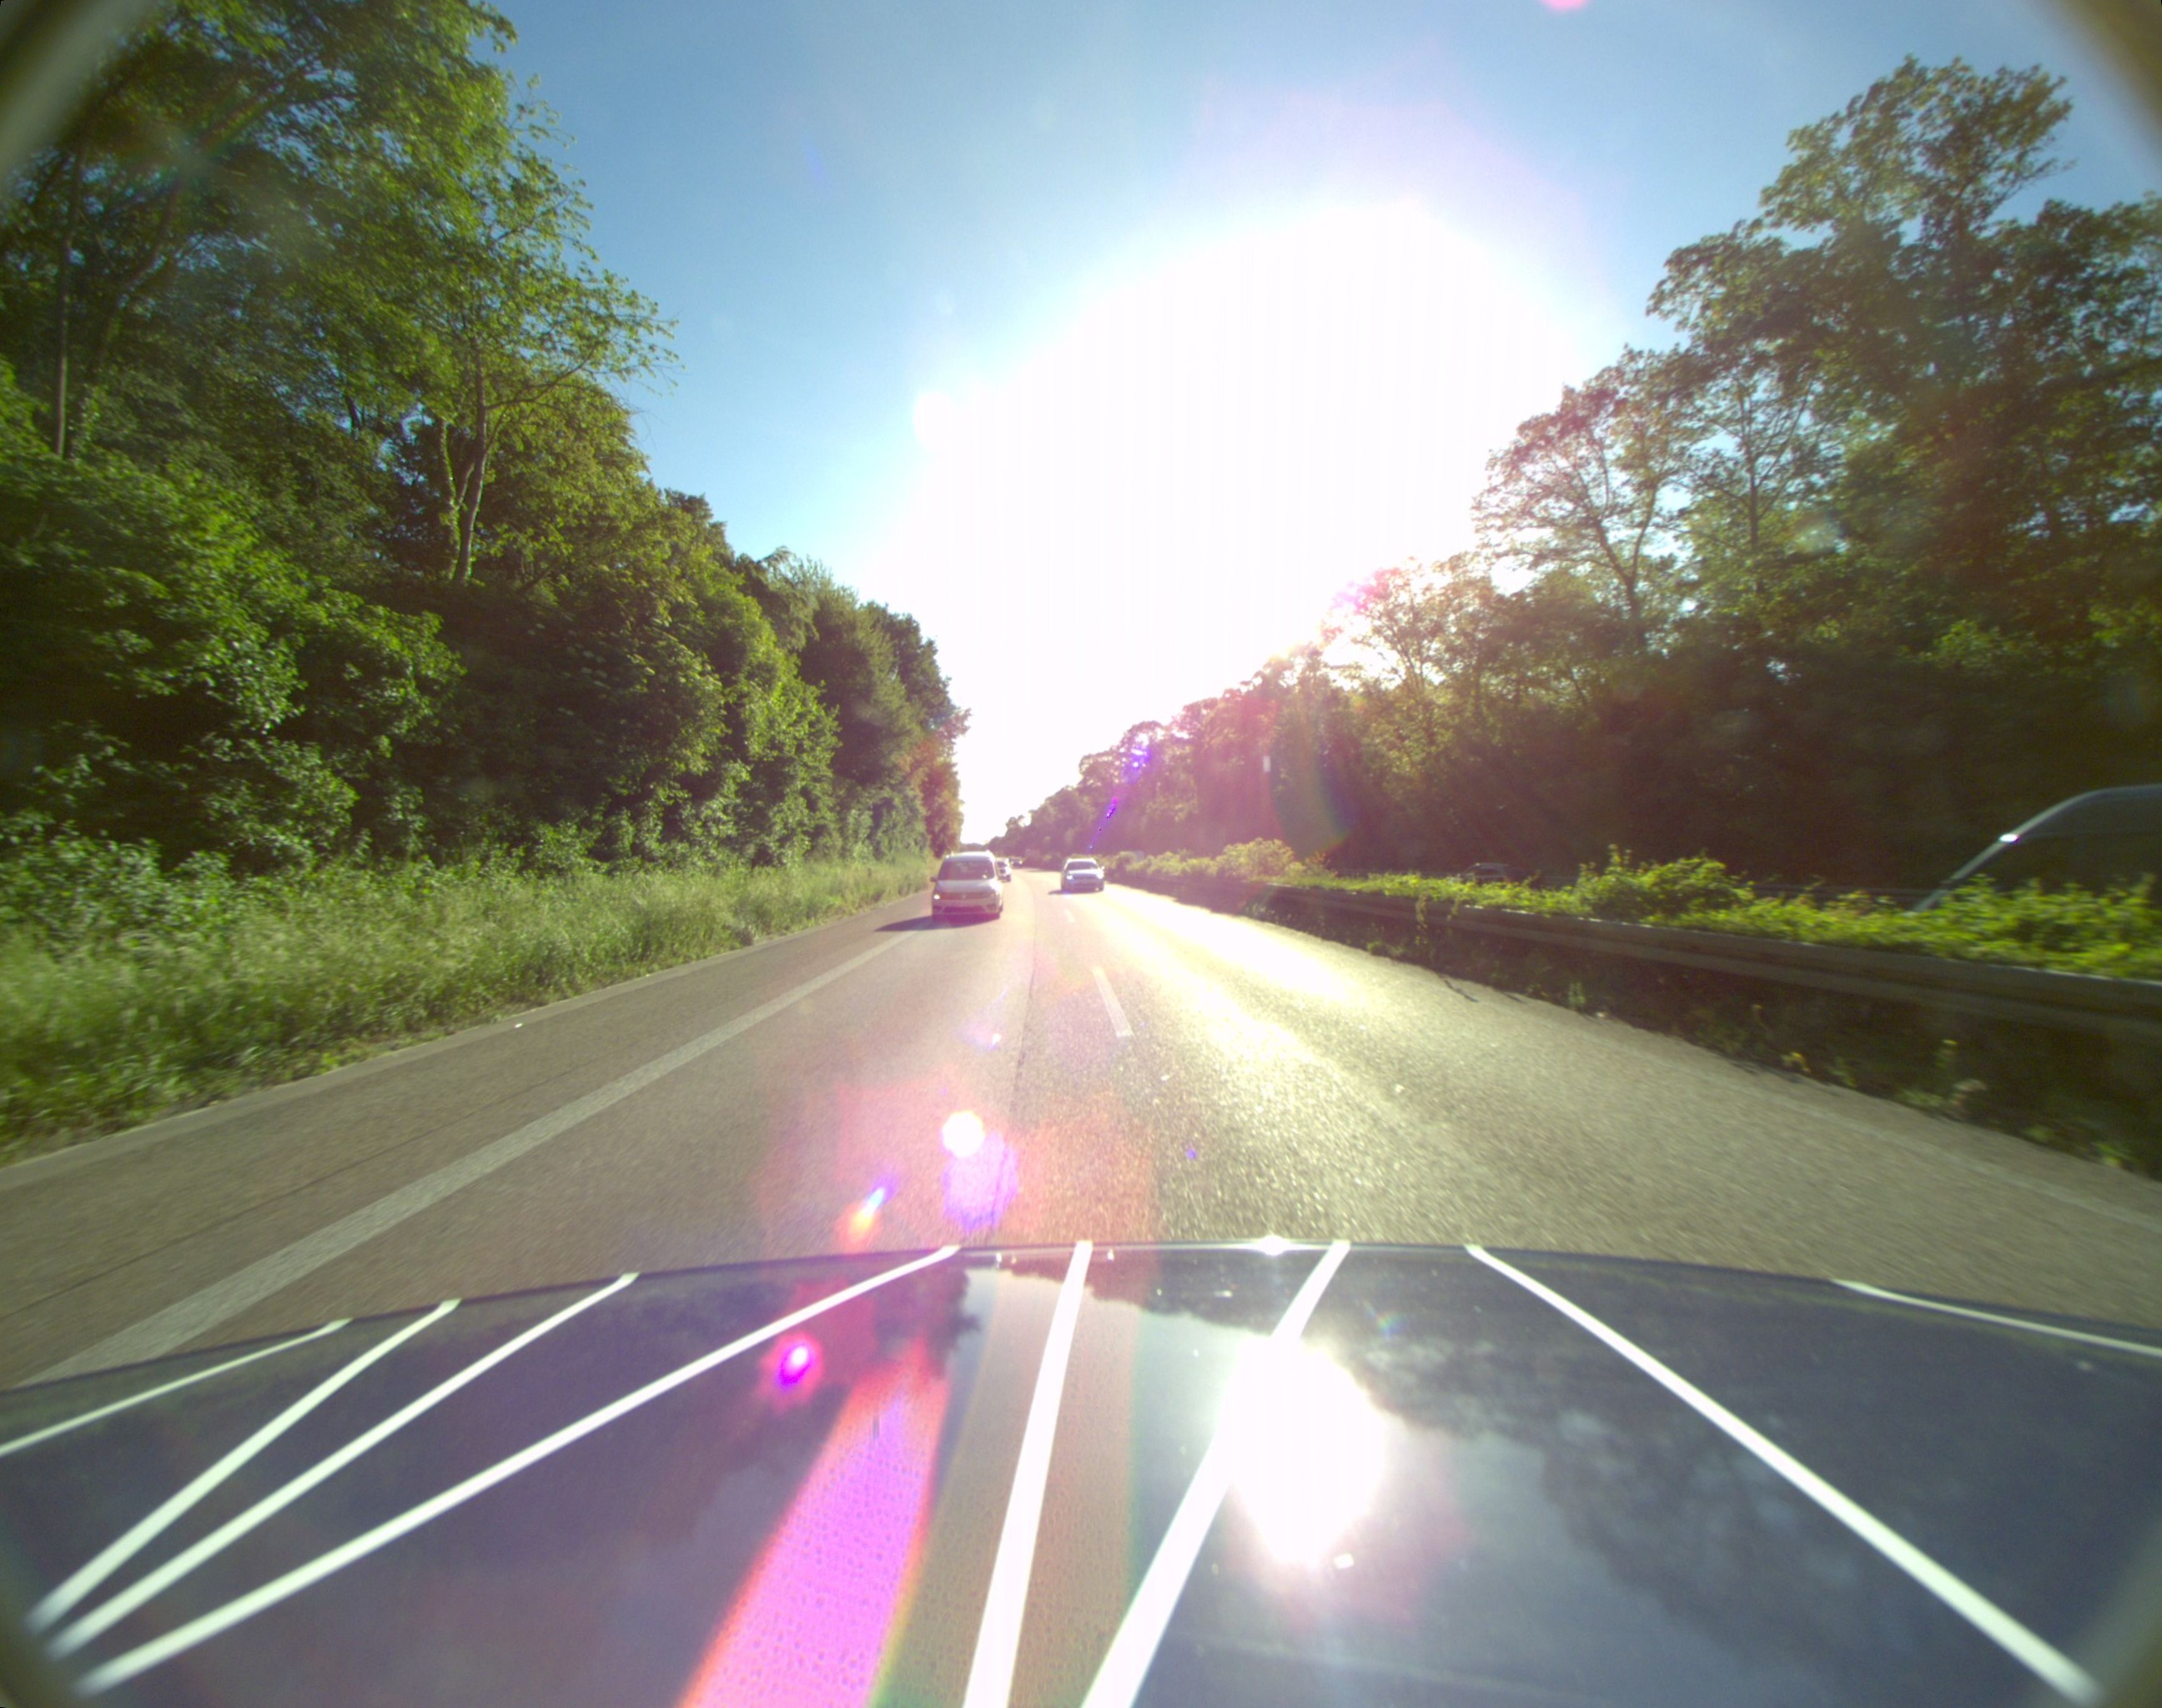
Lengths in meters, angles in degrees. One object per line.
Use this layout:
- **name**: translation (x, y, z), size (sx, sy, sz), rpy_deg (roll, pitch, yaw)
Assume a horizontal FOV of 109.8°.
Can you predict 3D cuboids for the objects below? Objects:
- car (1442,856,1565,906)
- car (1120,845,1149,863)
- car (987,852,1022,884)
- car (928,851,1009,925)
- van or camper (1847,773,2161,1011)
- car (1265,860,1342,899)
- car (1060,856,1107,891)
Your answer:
- **car**: translation (14.574, 0.871, 26.511), size (1.885, 1.505, 3.998), rpy_deg (-2, 1, -3)
- **car**: translation (4.866, 0.000, 69.608), size (1.886, 1.505, 4.354), rpy_deg (-2, 1, -7)
- **car**: translation (-5.350, 0.922, 53.246), size (2.257, 1.843, 5.137), rpy_deg (-2, 3, -6)
- **car**: translation (-3.076, 0.851, 21.607), size (1.800, 1.796, 4.831), rpy_deg (-2, 1, -3)
- **van or camper**: translation (10.179, 0.311, 6.195), size (2.149, 2.002, 5.578), rpy_deg (-1, 0, -2)
- **car**: translation (8.738, 0.959, 30.118), size (1.659, 1.347, 3.998), rpy_deg (-2, 1, -3)
- **car**: translation (0.020, 0.873, 36.053), size (1.934, 1.499, 5.598), rpy_deg (-2, 0, -3)
